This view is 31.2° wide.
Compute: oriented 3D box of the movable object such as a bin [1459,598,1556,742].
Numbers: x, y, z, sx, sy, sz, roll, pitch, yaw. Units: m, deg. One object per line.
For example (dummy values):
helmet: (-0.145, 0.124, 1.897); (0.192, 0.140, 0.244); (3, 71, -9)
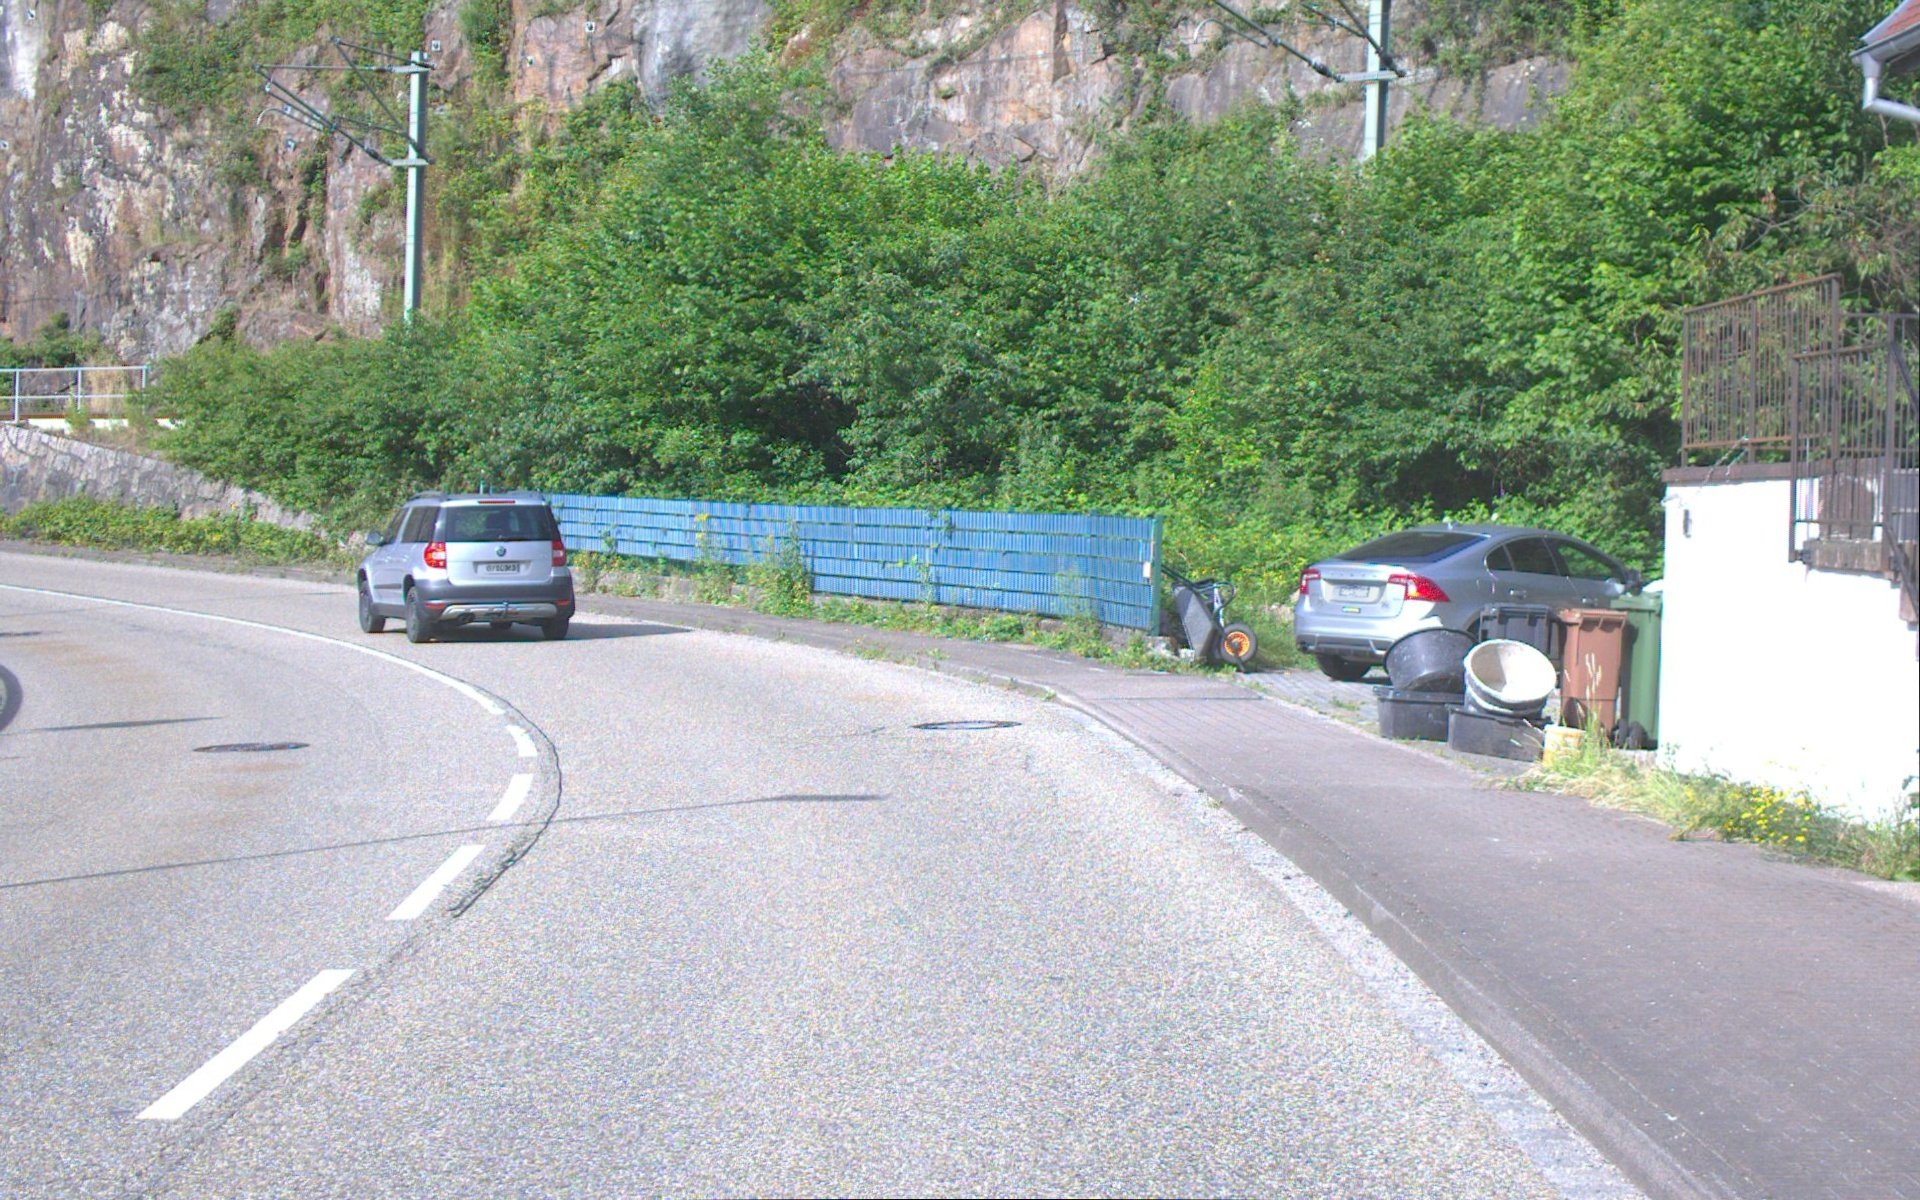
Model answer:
movable object such as a bin: (3.729, 0.469, 23.441); (0.471, 0.933, 0.652); (2, 1, -5)

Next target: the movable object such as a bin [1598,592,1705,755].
movable object such as a bin: (4.686, 0.490, 23.323); (0.477, 1.059, 0.753); (2, 1, -5)

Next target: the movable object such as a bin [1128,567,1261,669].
movable object such as a bin: (2.188, 0.152, 32.431); (0.855, 0.844, 2.539); (3, 1, -4)

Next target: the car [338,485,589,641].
car: (-5.693, -0.467, 39.069); (1.872, 1.650, 4.001); (-2, 2, -22)

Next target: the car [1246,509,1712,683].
car: (4.745, -0.030, 31.082); (4.317, 1.464, 1.837); (1, 0, -42)

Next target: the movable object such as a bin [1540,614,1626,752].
movable object such as a bin: (4.227, 0.558, 23.345); (0.367, 0.897, 0.547); (2, 1, -11)
